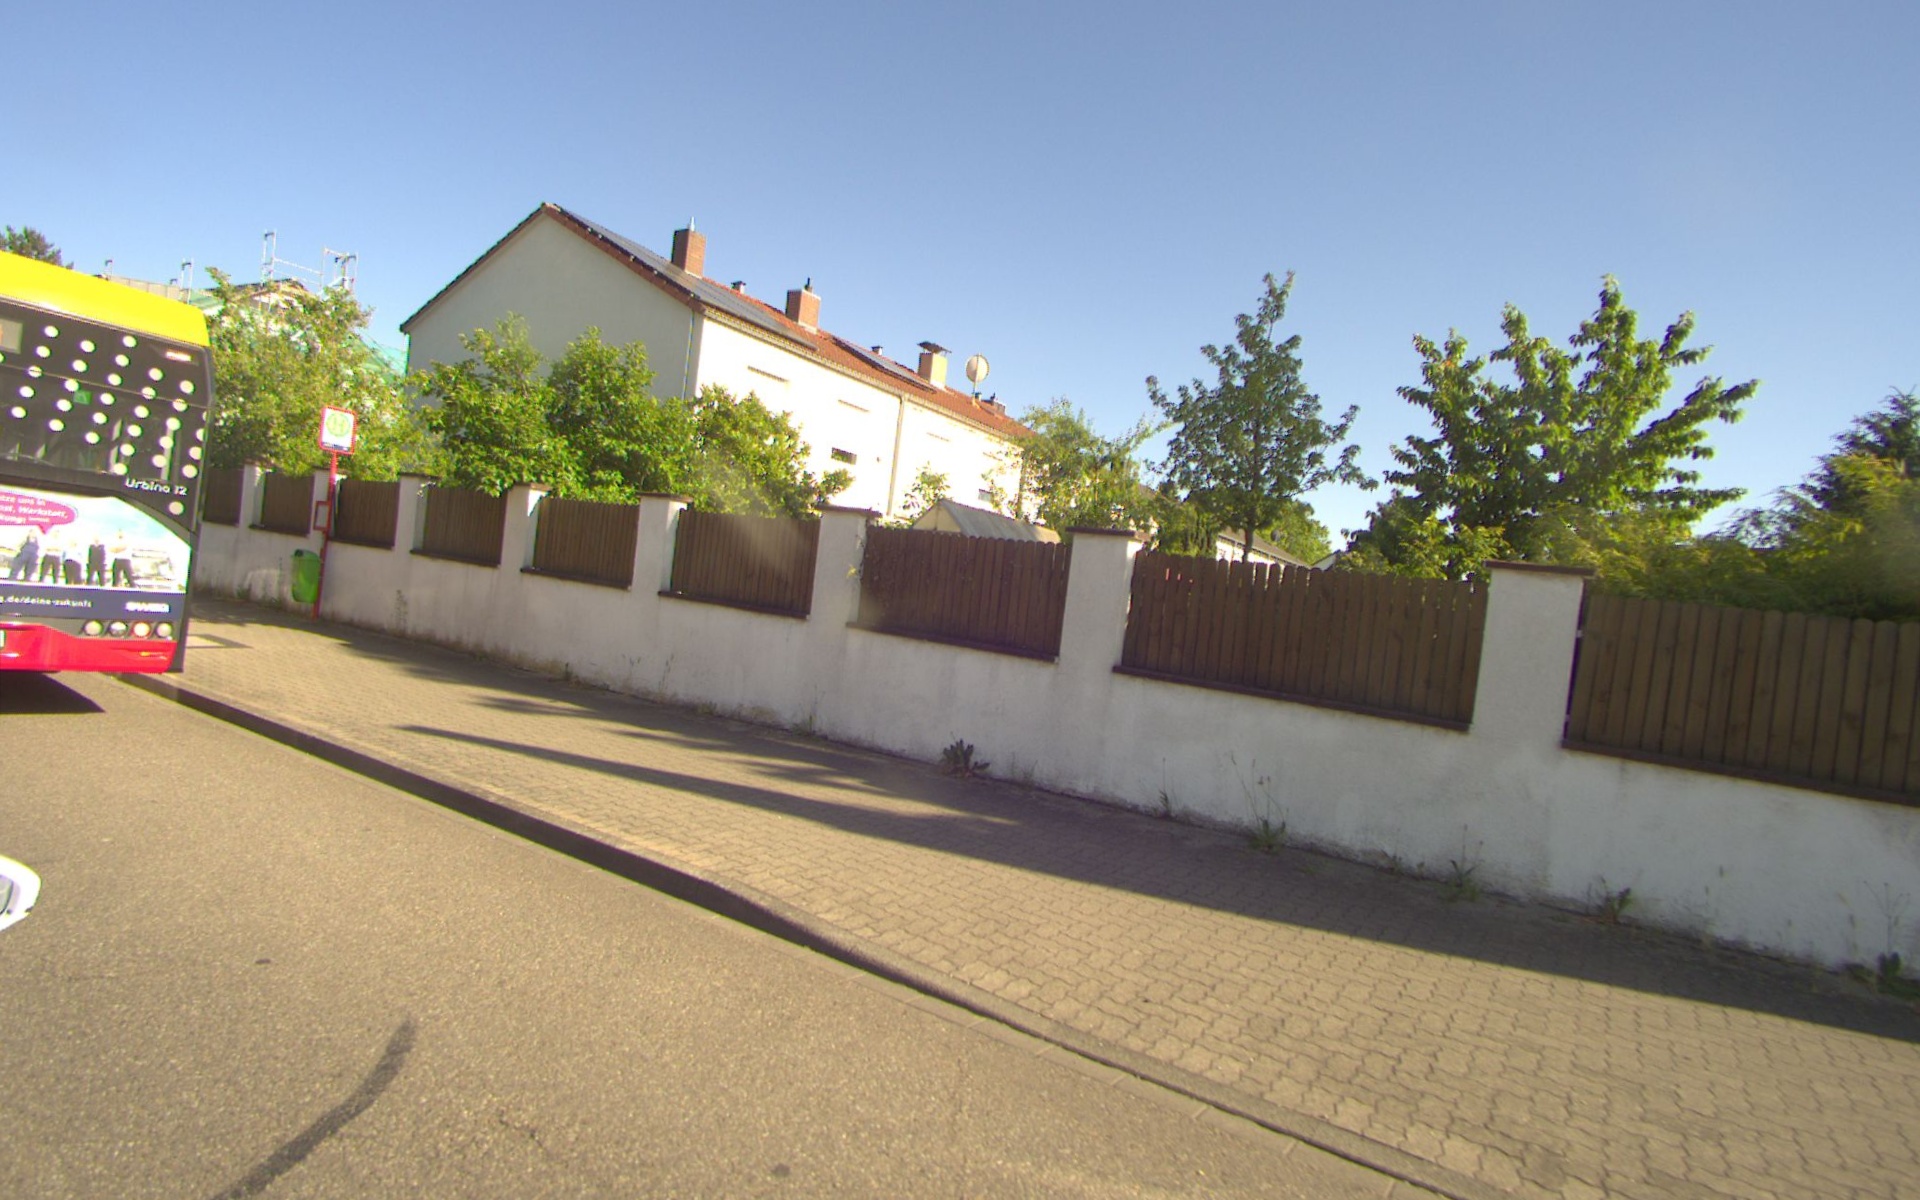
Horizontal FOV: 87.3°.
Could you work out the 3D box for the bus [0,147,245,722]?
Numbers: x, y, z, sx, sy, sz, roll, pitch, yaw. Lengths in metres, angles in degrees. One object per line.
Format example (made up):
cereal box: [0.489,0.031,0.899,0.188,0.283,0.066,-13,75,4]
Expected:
bus: [-10.853,-1.458,9.723,12.211,3.502,2.755,5,0,37]
